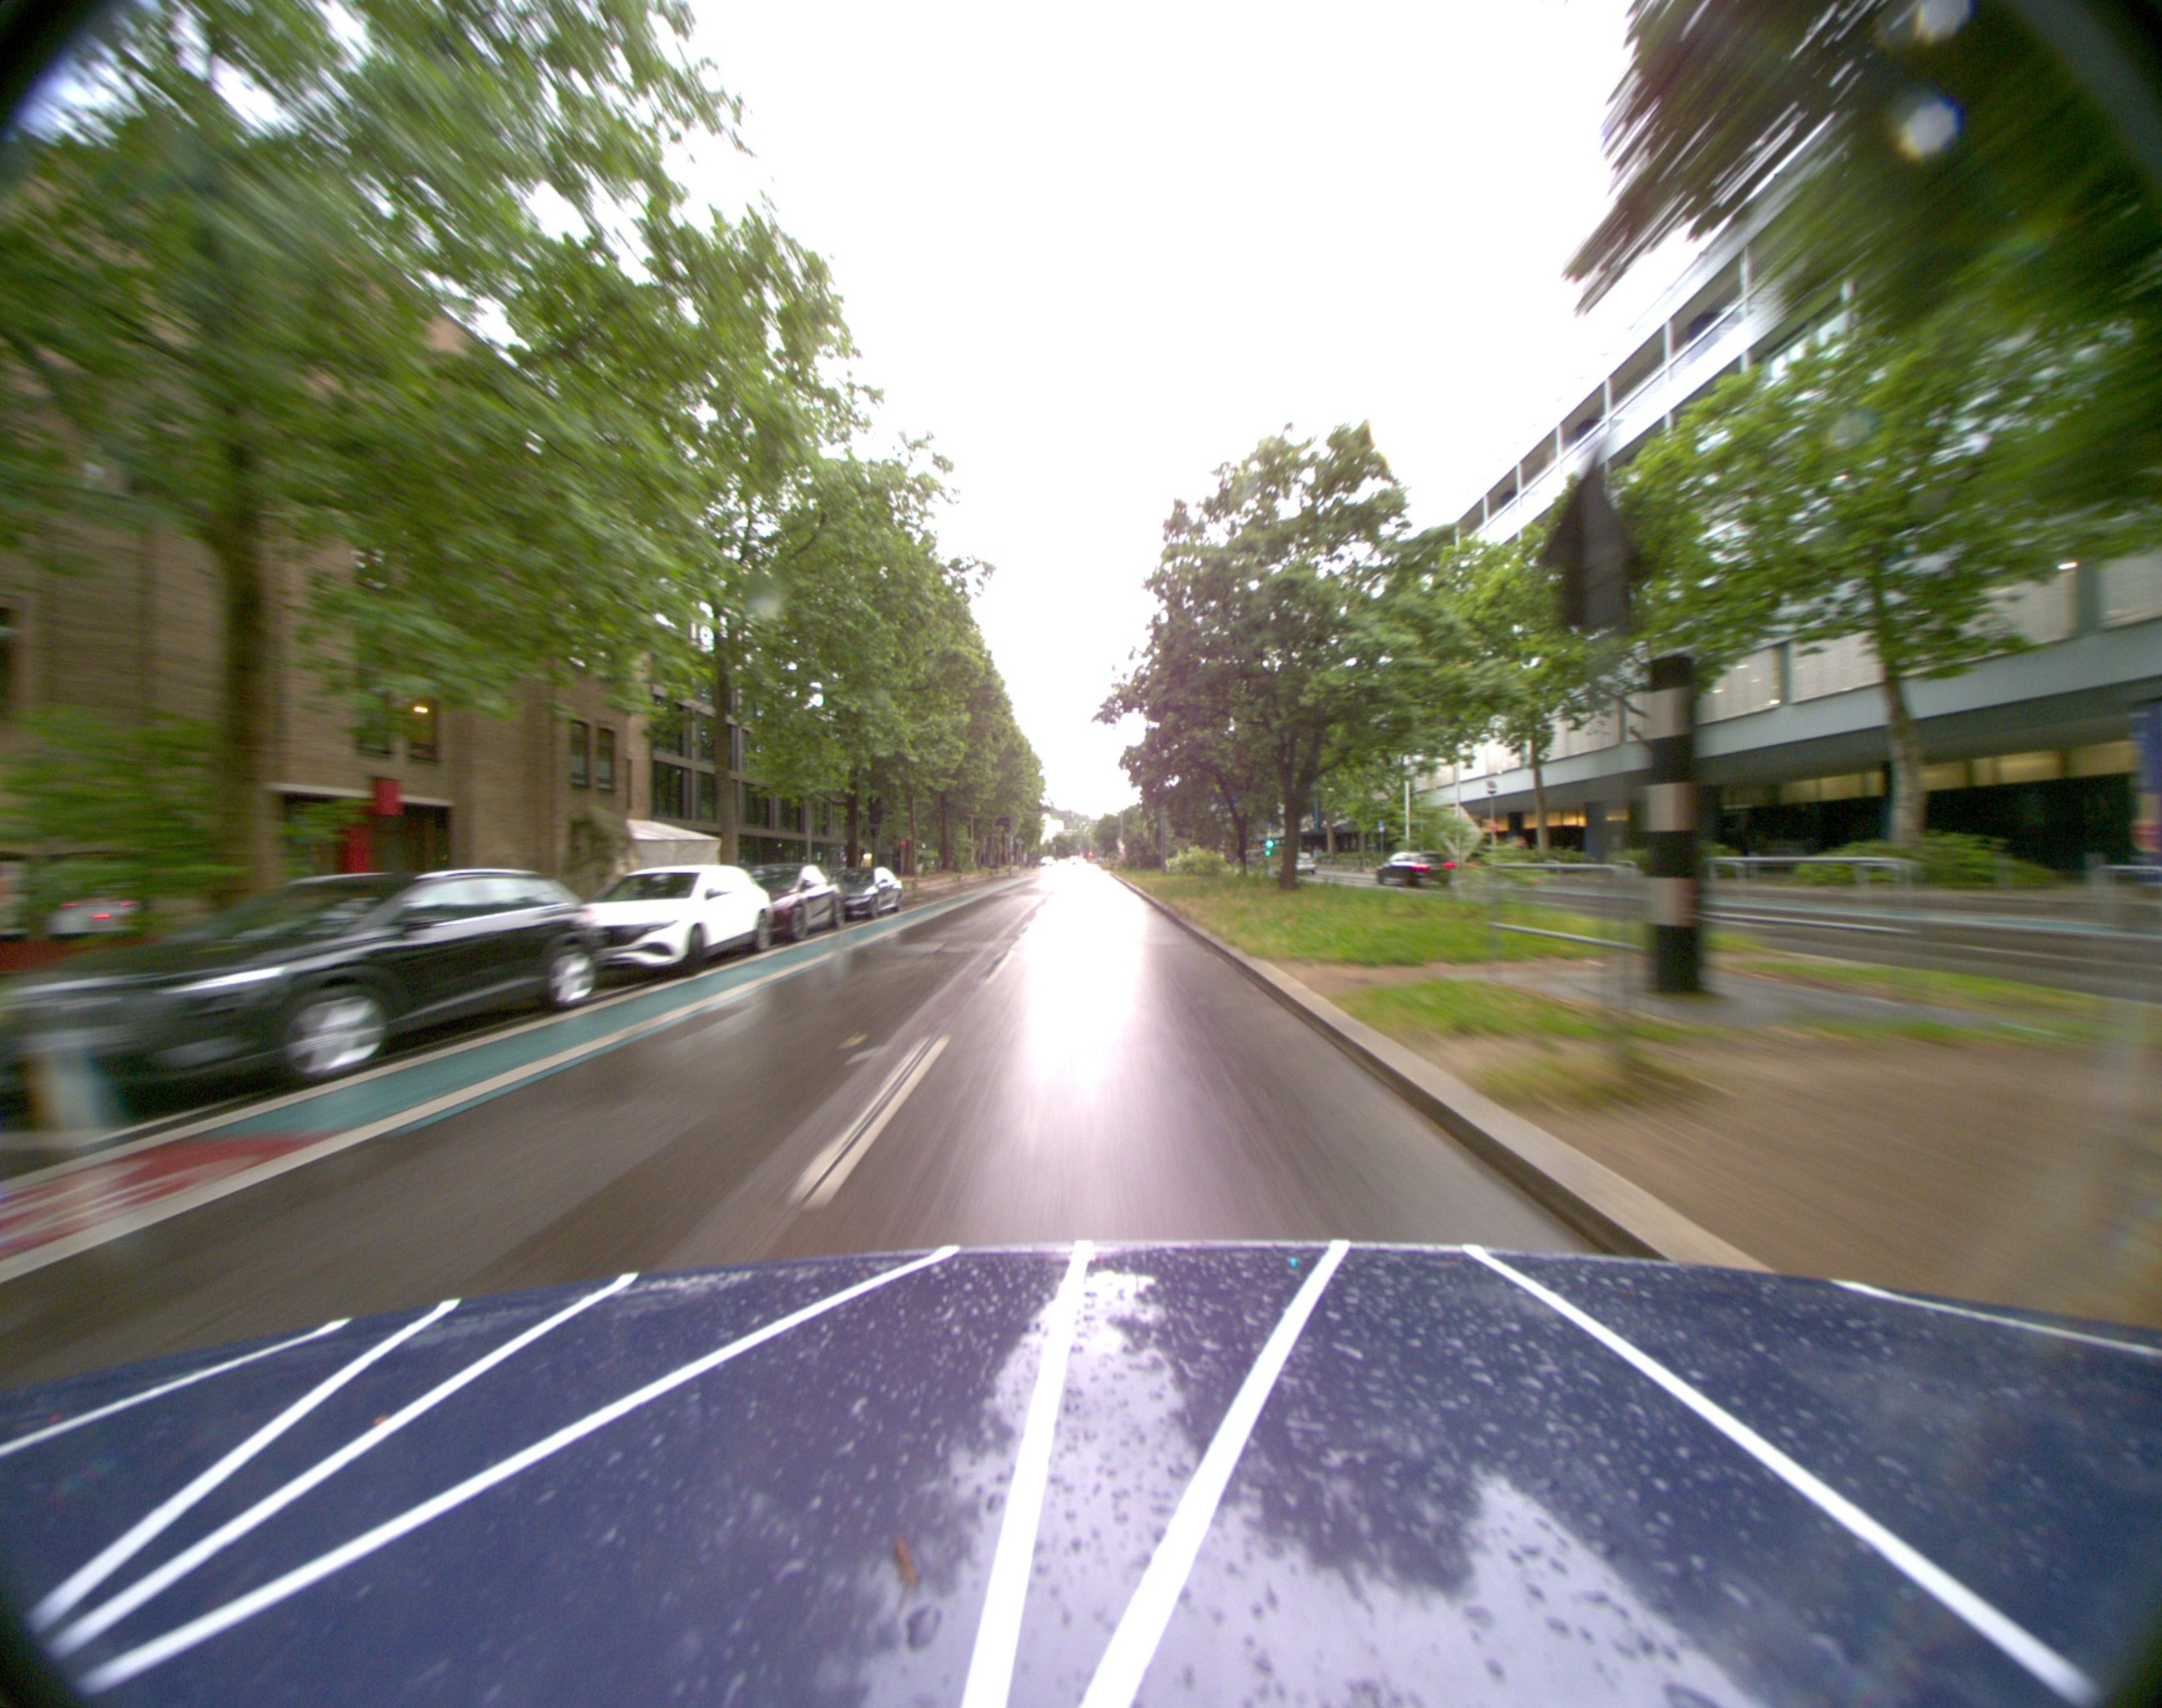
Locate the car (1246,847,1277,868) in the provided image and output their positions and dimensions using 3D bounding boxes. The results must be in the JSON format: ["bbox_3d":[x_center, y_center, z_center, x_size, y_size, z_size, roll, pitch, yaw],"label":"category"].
[{"bbox_3d":[15.983,0.286,67.501,1.998,1.791,4.283,-1,0,5],"label":"car"}]

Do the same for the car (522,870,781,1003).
[{"bbox_3d":[-6.410,1.104,12.023,1.756,1.576,4.409,-2,0,-4],"label":"car"}]

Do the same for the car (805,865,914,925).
[{"bbox_3d":[-6.385,1.125,22.424,1.747,1.424,4.586,-2,0,1],"label":"car"}]

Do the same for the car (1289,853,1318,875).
[{"bbox_3d":[14.905,0.651,51.071,1.163,1.454,3.561,-1,0,4],"label":"car"}]

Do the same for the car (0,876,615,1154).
[{"bbox_3d":[-6.600,1.099,7.050,1.797,1.593,4.423,-2,0,-1],"label":"car"}]

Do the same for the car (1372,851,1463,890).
[{"bbox_3d":[14.200,0.669,32.362,1.998,1.483,4.758,-1,0,4],"label":"car"}]

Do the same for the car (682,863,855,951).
[{"bbox_3d":[-6.663,1.043,16.861,1.999,1.580,4.559,-2,0,-2],"label":"car"}]
